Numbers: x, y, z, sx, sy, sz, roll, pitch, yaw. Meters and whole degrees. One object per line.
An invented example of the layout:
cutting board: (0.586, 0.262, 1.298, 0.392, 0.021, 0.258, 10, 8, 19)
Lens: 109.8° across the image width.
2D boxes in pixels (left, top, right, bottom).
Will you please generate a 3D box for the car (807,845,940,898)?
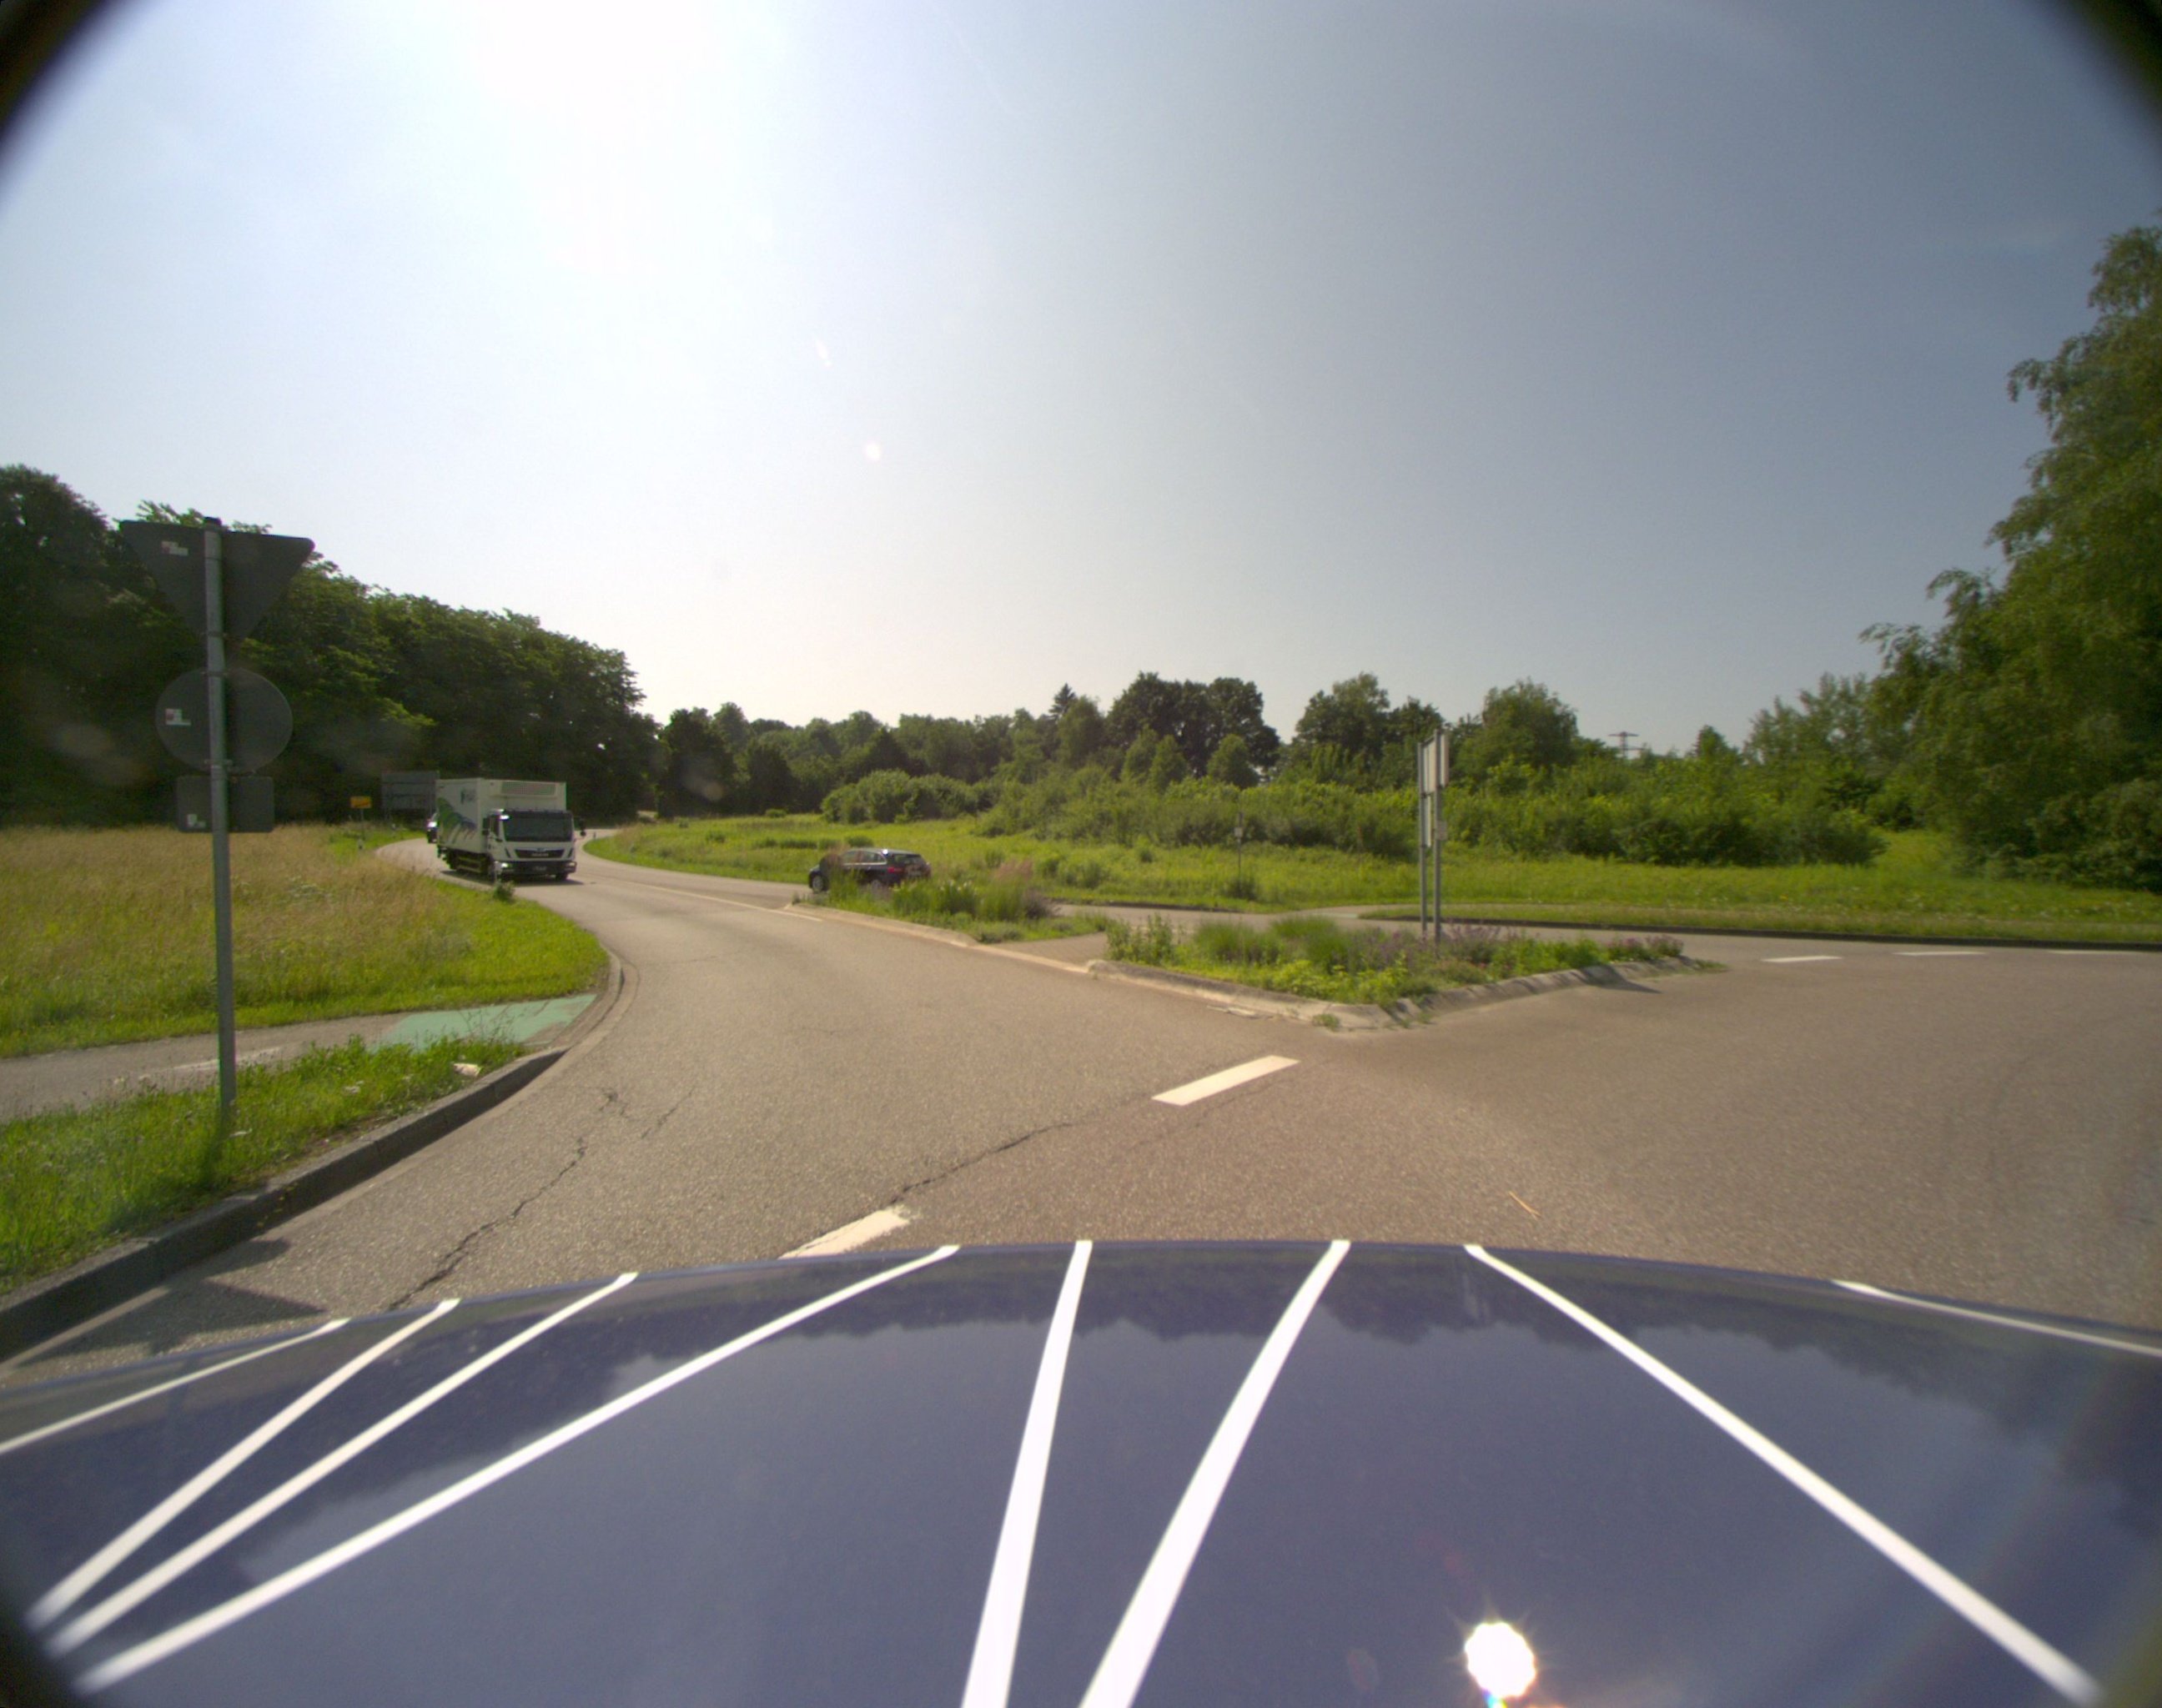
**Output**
car: (-6.497, 0.504, 23.572, 4.200, 1.521, 1.762, 0, -1, 37)

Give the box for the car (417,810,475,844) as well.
car: (-40.658, -1.747, 48.792, 2.003, 2.003, 5.587, -3, 3, -32)

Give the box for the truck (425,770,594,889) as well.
truck: (-21.580, -0.914, 28.449, 8.996, 3.808, 2.905, 1, 4, 40)
